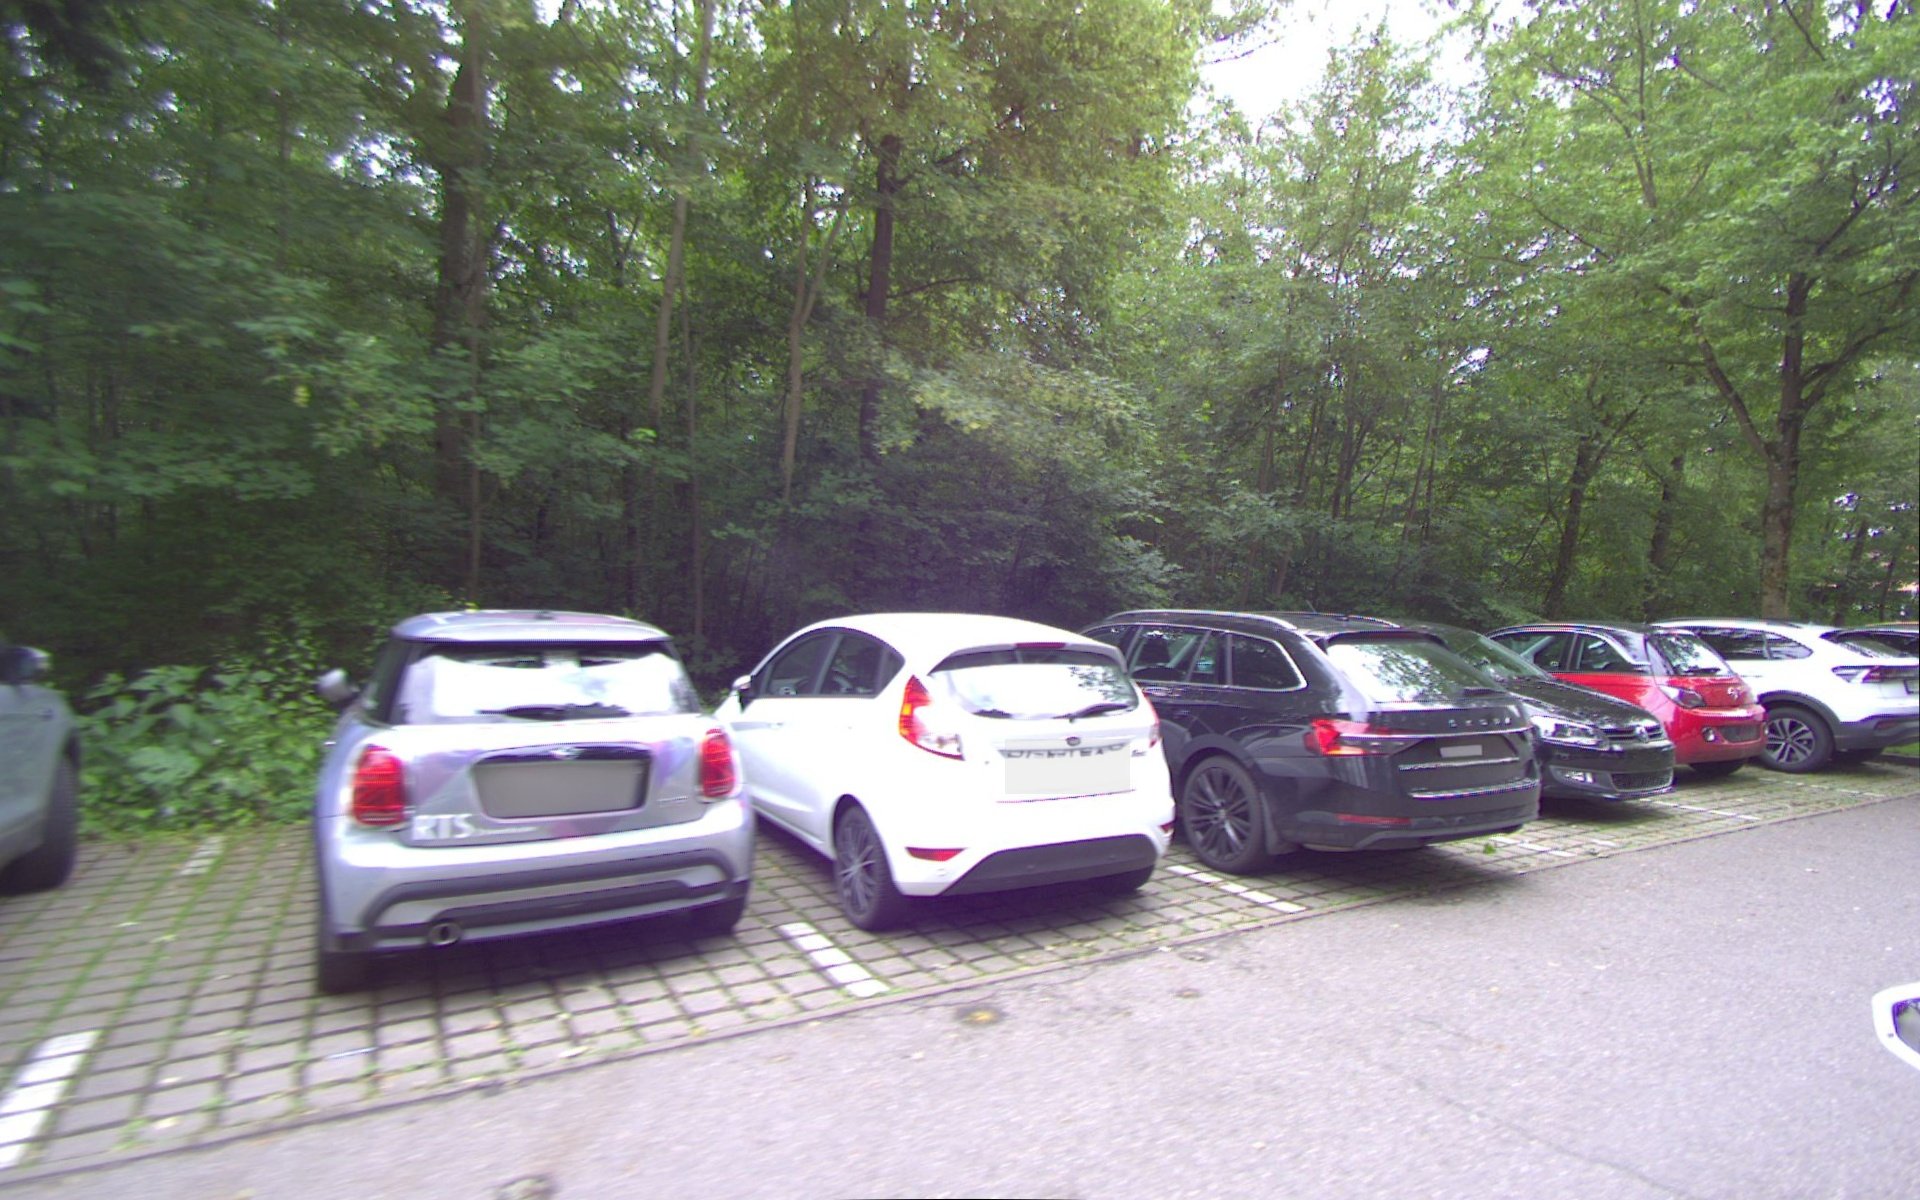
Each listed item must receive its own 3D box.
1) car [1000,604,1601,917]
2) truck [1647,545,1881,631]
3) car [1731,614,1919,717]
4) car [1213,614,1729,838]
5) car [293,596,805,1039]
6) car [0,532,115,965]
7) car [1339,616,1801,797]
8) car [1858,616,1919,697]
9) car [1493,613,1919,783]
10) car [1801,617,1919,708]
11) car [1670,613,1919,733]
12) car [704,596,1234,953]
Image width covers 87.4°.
[{"bbox_3d":[1.981,0.805,7.070,1.656,1.455,3.971,1,1,-27],"label":"car"},{"bbox_3d":[33.876,-0.498,42.548,3.413,3.279,7.187,2,0,-40],"label":"truck"},{"bbox_3d":[14.860,1.022,15.800,1.713,1.457,3.969,1,1,-29],"label":"car"},{"bbox_3d":[4.301,0.912,9.152,1.656,1.455,3.971,1,1,-27],"label":"car"},{"bbox_3d":[-2.436,0.728,5.508,1.793,1.440,3.967,1,0,-31],"label":"car"},{"bbox_3d":[-4.473,0.567,3.404,1.793,1.684,3.967,1,0,-31],"label":"car"},{"bbox_3d":[6.282,0.959,10.865,1.681,1.455,3.971,1,1,-27],"label":"car"},{"bbox_3d":[18.963,1.100,17.992,1.653,1.457,3.965,1,1,-31],"label":"car"},{"bbox_3d":[8.552,0.952,11.569,1.694,1.487,3.968,1,1,-30],"label":"car"},{"bbox_3d":[16.904,1.085,16.841,1.598,1.457,3.969,1,1,-29],"label":"car"},{"bbox_3d":[12.673,0.978,14.183,1.694,1.457,3.969,1,1,-29],"label":"car"},{"bbox_3d":[-0.307,0.747,6.299,1.628,1.454,3.971,3,-1,-27],"label":"car"}]
